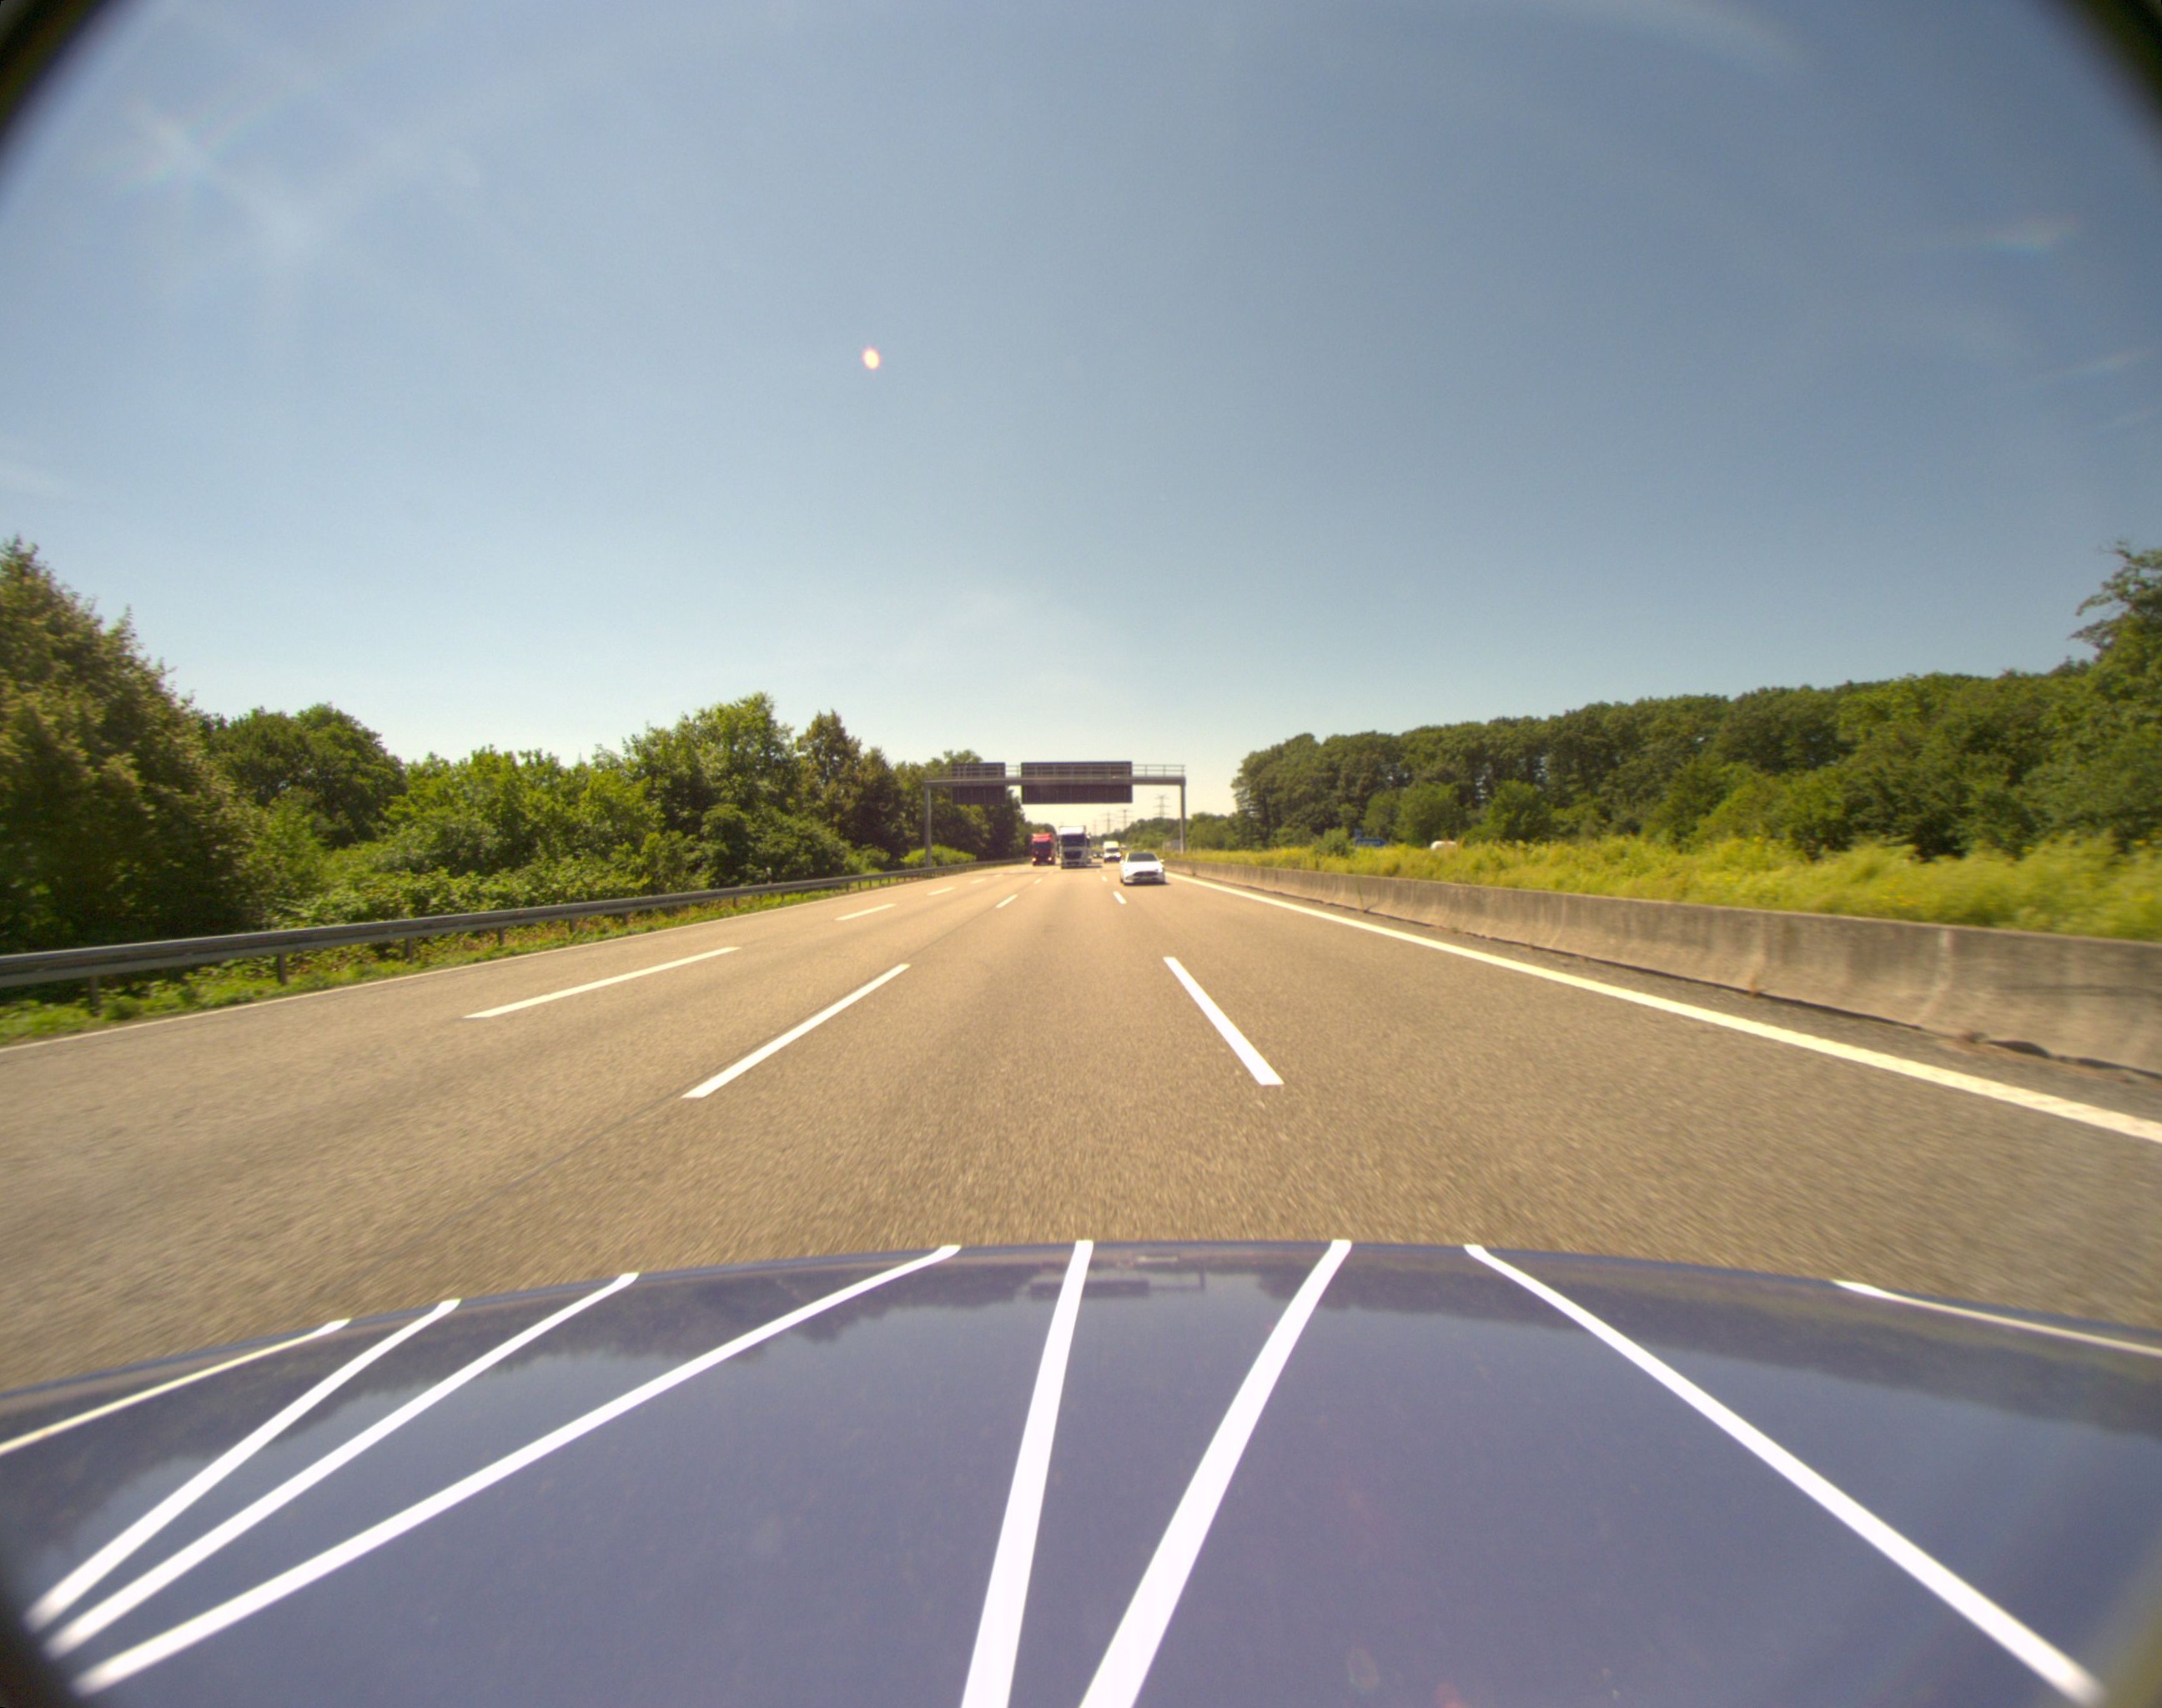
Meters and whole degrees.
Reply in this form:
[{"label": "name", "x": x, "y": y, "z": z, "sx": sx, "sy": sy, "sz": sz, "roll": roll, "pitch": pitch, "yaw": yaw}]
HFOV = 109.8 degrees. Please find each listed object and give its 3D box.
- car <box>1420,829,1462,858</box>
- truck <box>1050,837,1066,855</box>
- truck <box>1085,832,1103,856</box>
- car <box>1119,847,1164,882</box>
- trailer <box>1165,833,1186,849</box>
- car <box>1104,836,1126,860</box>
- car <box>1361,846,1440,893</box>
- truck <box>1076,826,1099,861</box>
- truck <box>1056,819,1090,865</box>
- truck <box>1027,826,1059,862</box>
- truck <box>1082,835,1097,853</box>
[{"label": "car", "x": 30.047, "y": -0.868, "z": 63.555, "sx": 1.996, "sy": 2.303, "sz": 5.548, "roll": -2, "pitch": 1, "yaw": 13}, {"label": "truck", "x": -5.718, "y": -2.057, "z": 189.036, "sx": 3.333, "sy": 4.351, "sz": 8.501, "roll": -2, "pitch": 1, "yaw": 1}, {"label": "truck", "x": 2.509, "y": -1.981, "z": 147.906, "sx": 3.333, "sy": 4.351, "sz": 8.501, "roll": -2, "pitch": 1, "yaw": 1}, {"label": "car", "x": 2.725, "y": 0.443, "z": 35.235, "sx": 1.771, "sy": 1.440, "sz": 5.108, "roll": -2, "pitch": 1, "yaw": 1}, {"label": "trailer", "x": 21.096, "y": -2.898, "z": 170.126, "sx": 2.976, "sy": 3.167, "sz": 11.122, "roll": -3, "pitch": 1, "yaw": 0}, {"label": "car", "x": 4.343, "y": -0.769, "z": 98.460, "sx": 2.521, "sy": 2.857, "sz": 6.399, "roll": -3, "pitch": 1, "yaw": 1}, {"label": "car", "x": 14.809, "y": 0.657, "z": 35.457, "sx": 1.998, "sy": 2.002, "sz": 4.000, "roll": -2, "pitch": 1, "yaw": 1}, {"label": "truck", "x": 0.884, "y": -1.319, "z": 97.621, "sx": 2.700, "sy": 4.232, "sz": 8.243, "roll": -3, "pitch": 1, "yaw": 1}, {"label": "truck", "x": -0.706, "y": -1.181, "z": 74.799, "sx": 2.990, "sy": 4.187, "sz": 7.592, "roll": -2, "pitch": 1, "yaw": 1}, {"label": "truck", "x": -4.746, "y": -1.255, "z": 97.582, "sx": 3.333, "sy": 4.351, "sz": 8.501, "roll": -2, "pitch": 1, "yaw": 1}, {"label": "truck", "x": 2.207, "y": -2.466, "z": 191.416, "sx": 3.333, "sy": 4.351, "sz": 8.501, "roll": -2, "pitch": 1, "yaw": 1}]
